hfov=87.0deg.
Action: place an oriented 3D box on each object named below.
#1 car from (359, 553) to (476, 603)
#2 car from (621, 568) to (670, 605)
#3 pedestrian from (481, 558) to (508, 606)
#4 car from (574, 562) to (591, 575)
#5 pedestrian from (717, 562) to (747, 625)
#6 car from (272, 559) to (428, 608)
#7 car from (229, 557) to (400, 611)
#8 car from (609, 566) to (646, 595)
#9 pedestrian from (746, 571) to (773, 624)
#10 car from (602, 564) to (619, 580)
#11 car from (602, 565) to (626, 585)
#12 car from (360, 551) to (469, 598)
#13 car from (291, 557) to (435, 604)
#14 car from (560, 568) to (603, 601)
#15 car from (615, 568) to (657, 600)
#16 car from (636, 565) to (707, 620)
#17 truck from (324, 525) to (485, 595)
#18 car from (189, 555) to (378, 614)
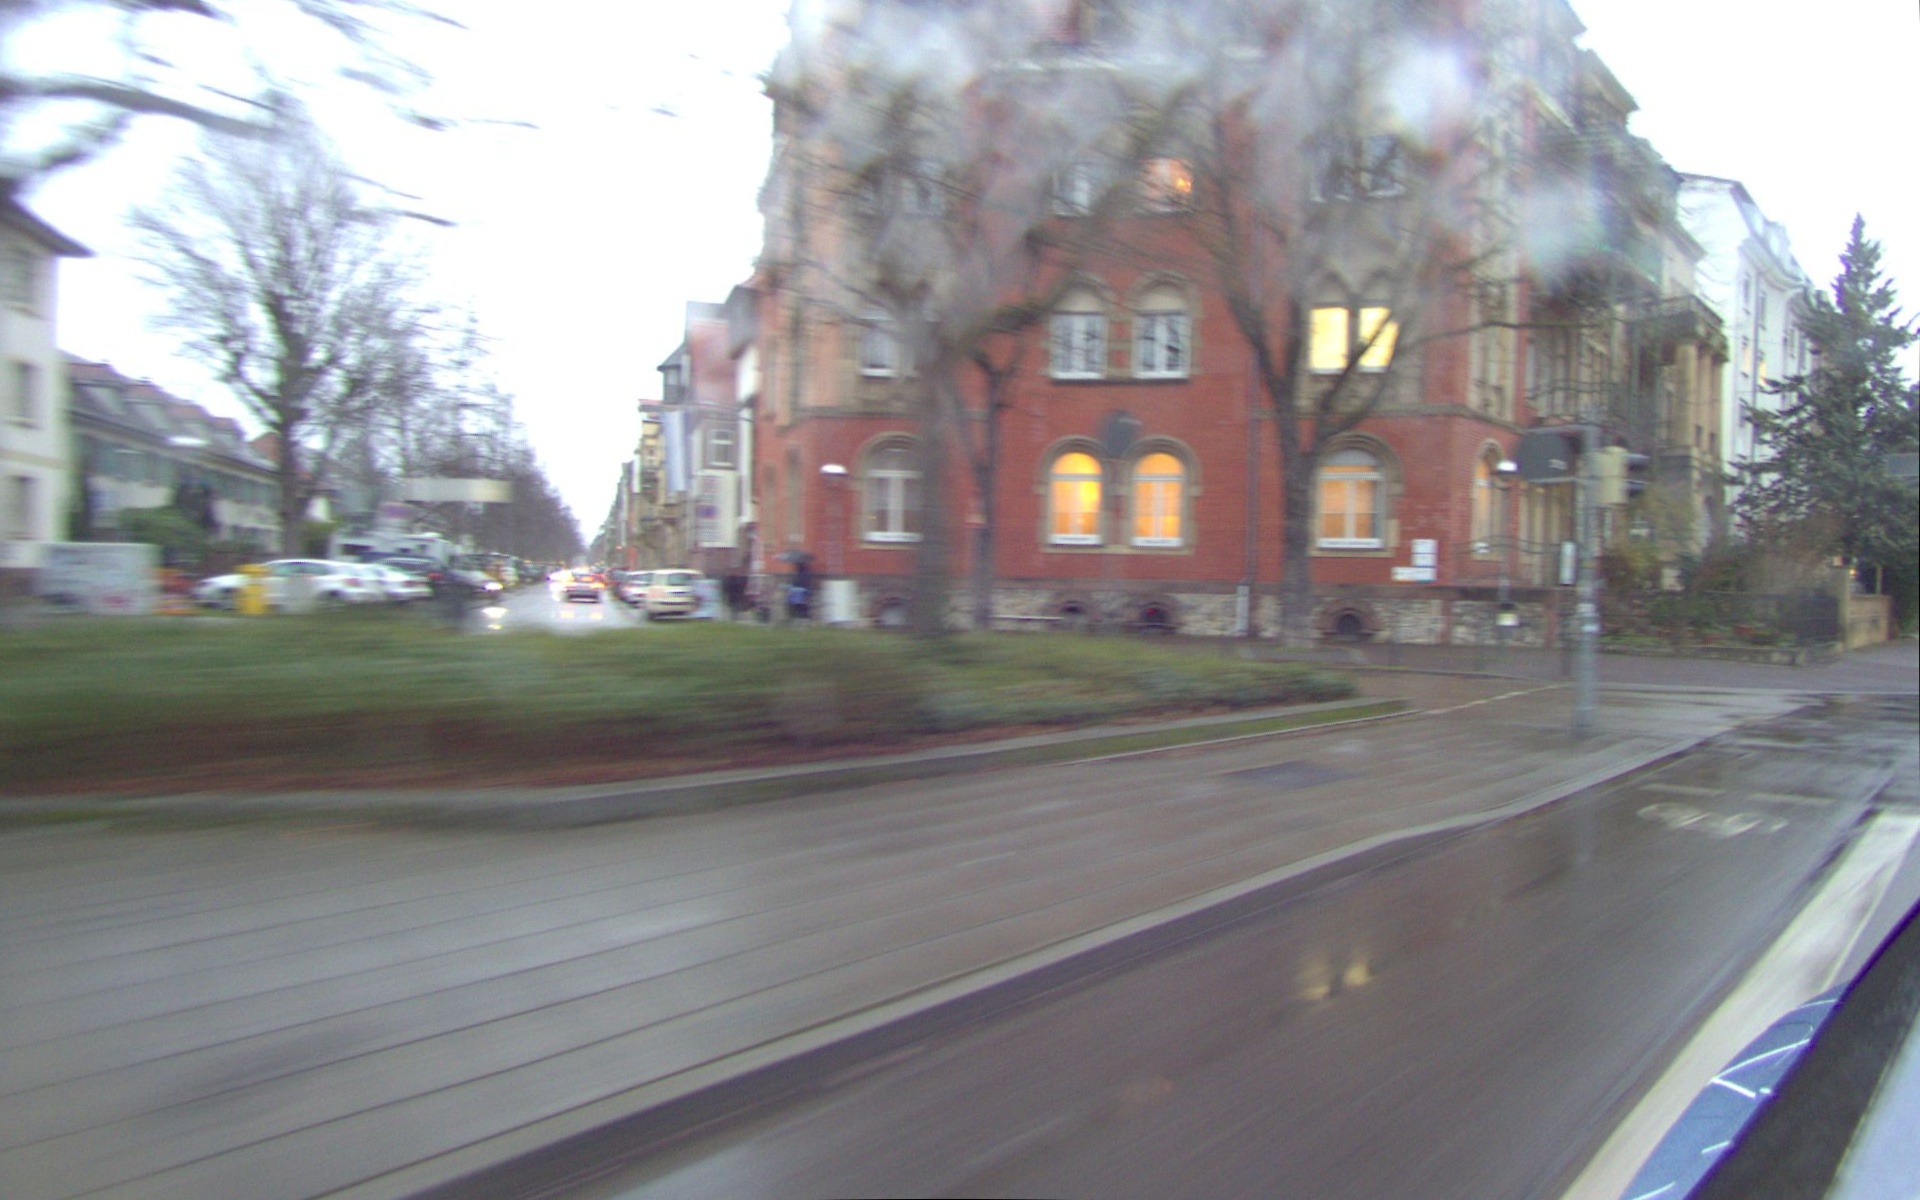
[{"bbox_3d":[-22.494,-0.925,42.092,3.916,1.957,1.855,1,1,-14],"label":"car"},{"bbox_3d":[-13.278,-0.594,42.638,1.613,1.415,4.009,1,1,-22],"label":"car"},{"bbox_3d":[-18.577,-0.731,40.401,0.797,1.887,0.880,1,1,-15],"label":"pedestrian"},{"bbox_3d":[-58.296,-4.895,156.458,1.958,2.038,4.009,1,1,-14],"label":"car"},{"bbox_3d":[-5.691,-0.149,25.267,0.630,1.546,0.548,1,-1,-20],"label":"pedestrian"},{"bbox_3d":[-19.631,-0.533,32.743,3.916,1.494,1.855,1,1,-14],"label":"car"},{"bbox_3d":[-19.285,-0.474,30.417,3.916,1.494,1.855,1,1,-14],"label":"car"},{"bbox_3d":[-18.565,-1.087,56.482,1.689,1.517,4.009,1,1,-22],"label":"car"},{"bbox_3d":[-5.077,-0.058,25.612,0.596,1.333,0.548,1,-1,-20],"label":"pedestrian"},{"bbox_3d":[-34.781,-2.802,100.715,1.541,1.590,4.009,1,1,-20],"label":"car"},{"bbox_3d":[-28.813,-2.122,84.265,1.689,1.590,4.009,1,1,-22],"label":"car"},{"bbox_3d":[-25.010,-1.166,46.579,4.238,2.038,2.004,1,2,-25],"label":"car"},{"bbox_3d":[-20.688,-0.676,35.236,3.916,1.494,1.855,1,1,-14],"label":"car"},{"bbox_3d":[-18.623,-0.735,49.811,1.930,1.498,4.007,0,-1,-20],"label":"car"},{"bbox_3d":[-16.250,-0.829,50.716,1.689,1.526,4.009,1,1,-22],"label":"car"},{"bbox_3d":[-8.693,-0.266,30.287,1.613,1.514,4.009,1,1,-22],"label":"car"},{"bbox_3d":[-26.695,-1.896,48.980,6.593,3.130,2.638,1,1,-23],"label":"truck"},{"bbox_3d":[-18.517,-0.421,27.872,3.916,1.504,1.855,1,1,-14],"label":"car"}]
